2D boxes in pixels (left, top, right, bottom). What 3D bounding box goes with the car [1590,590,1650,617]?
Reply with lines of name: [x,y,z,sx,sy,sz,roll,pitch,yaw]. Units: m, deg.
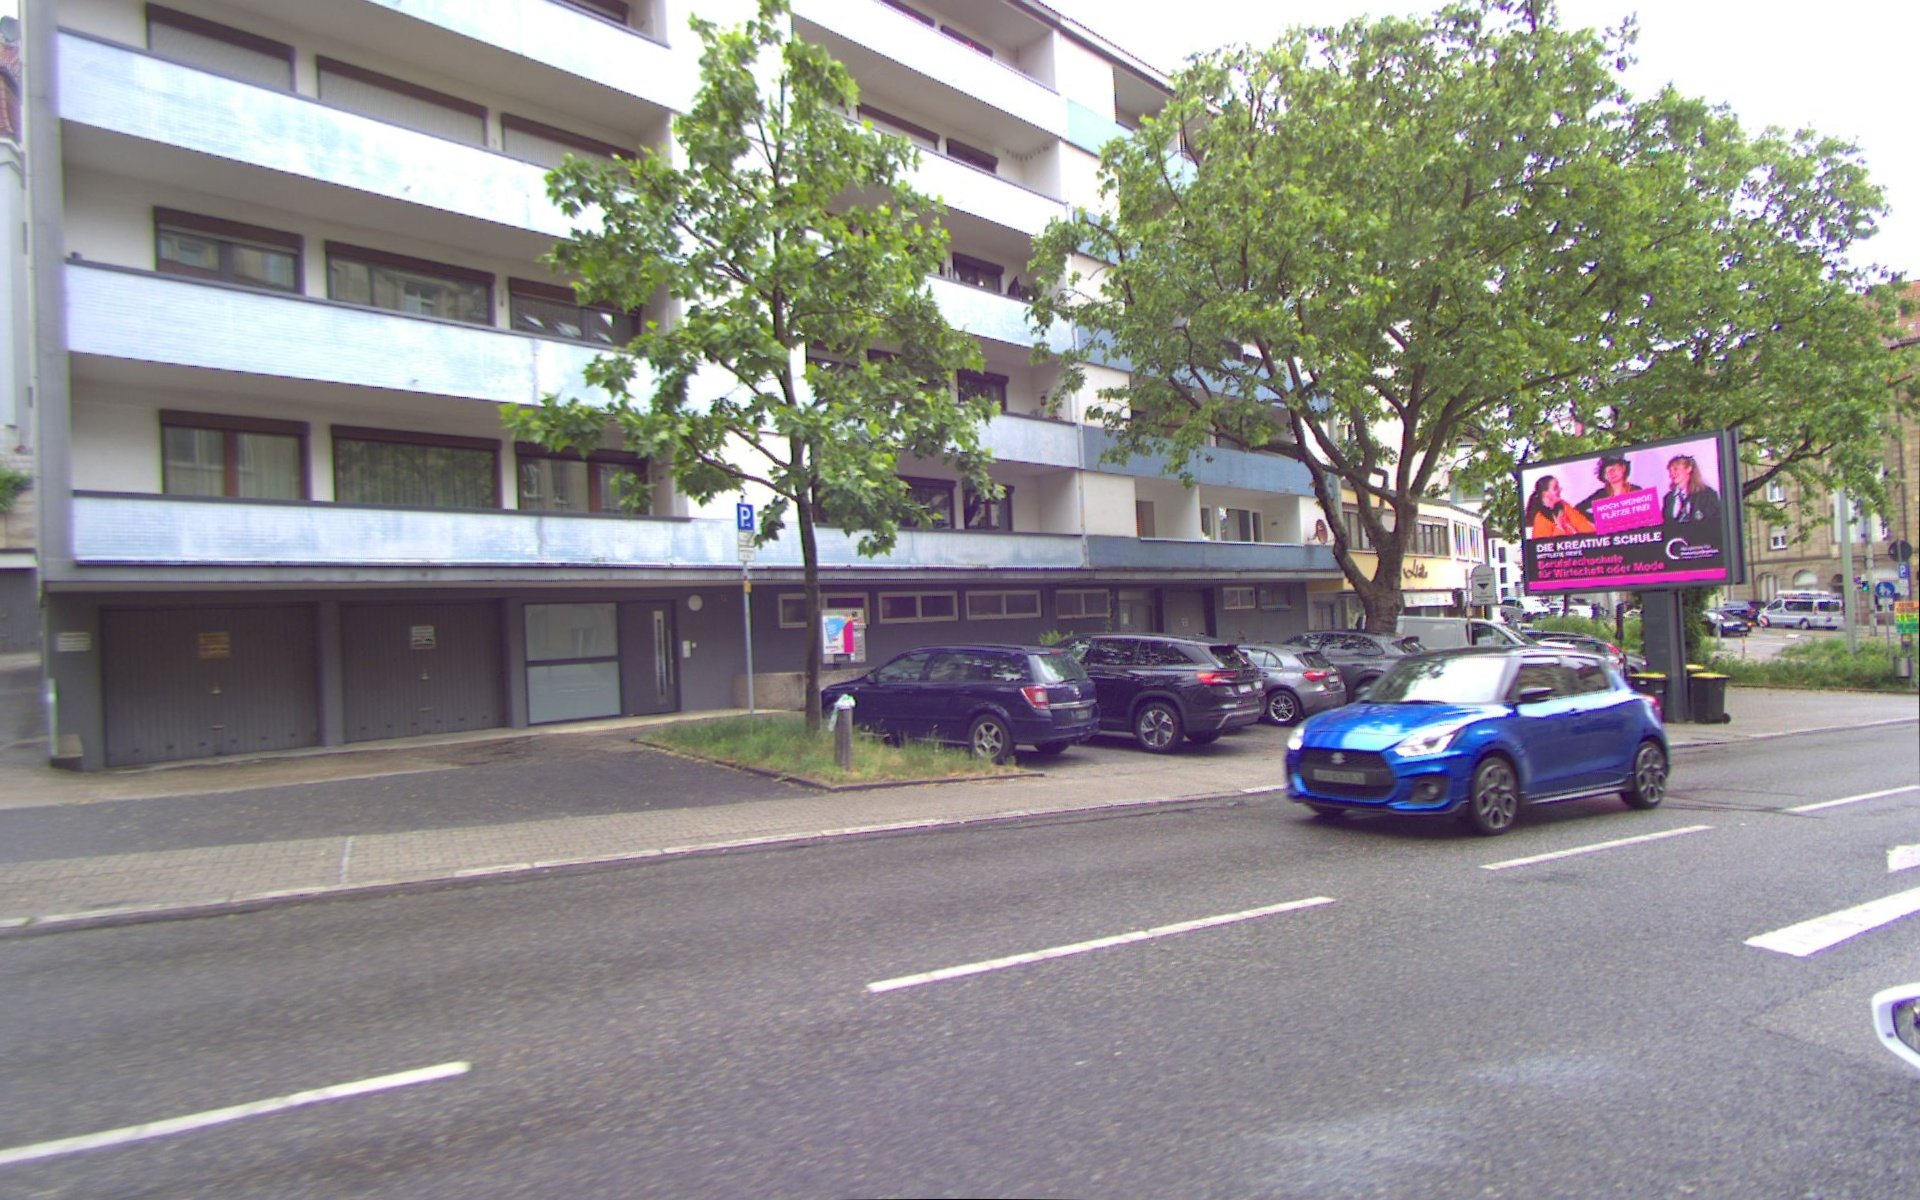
car: [53.672,0.240,81.770,1.961,2.130,4.291,0,1,-1]

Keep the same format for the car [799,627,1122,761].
car: [-0.096,1.237,14.152,4.303,1.595,1.935,-3,-3,39]

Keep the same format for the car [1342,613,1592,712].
car: [11.947,1.405,23.874,5.001,2.133,1.983,-1,-2,40]

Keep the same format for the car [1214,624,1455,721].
car: [7.694,1.419,20.851,4.305,1.807,1.930,-1,-2,40]

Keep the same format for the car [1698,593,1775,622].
car: [53.868,0.502,69.790,1.961,1.863,4.291,0,1,-1]

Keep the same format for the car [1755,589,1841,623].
car: [53.934,0.359,64.759,1.961,2.130,4.291,0,1,-1]

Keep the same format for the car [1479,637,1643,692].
car: [17.601,1.833,29.489,3.926,1.469,1.761,-1,-2,40]

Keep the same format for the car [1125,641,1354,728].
car: [5.300,1.536,19.195,3.870,1.449,1.742,-1,-2,36]

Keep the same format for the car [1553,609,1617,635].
car: [45.075,1.539,72.575,1.961,1.749,4.250,-2,-1,0]

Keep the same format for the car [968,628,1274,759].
car: [2.377,1.302,15.398,4.312,1.694,1.847,-1,-2,39]

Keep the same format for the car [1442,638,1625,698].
car: [15.703,1.807,27.589,4.122,1.475,1.786,-1,-2,40]

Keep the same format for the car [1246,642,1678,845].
car: [4.550,1.164,9.024,3.700,1.469,1.707,1,-6,-31]

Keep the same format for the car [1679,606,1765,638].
car: [45.296,1.281,59.804,1.960,1.749,4.250,-1,0,2]

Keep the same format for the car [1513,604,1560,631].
car: [45.582,1.381,79.481,1.545,2.040,4.001,0,-1,2]

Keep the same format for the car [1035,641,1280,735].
car: [3.445,1.473,17.771,3.929,1.449,1.692,-1,-2,36]

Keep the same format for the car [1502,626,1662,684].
car: [19.268,1.668,31.177,4.072,1.675,1.762,-1,-2,38]
